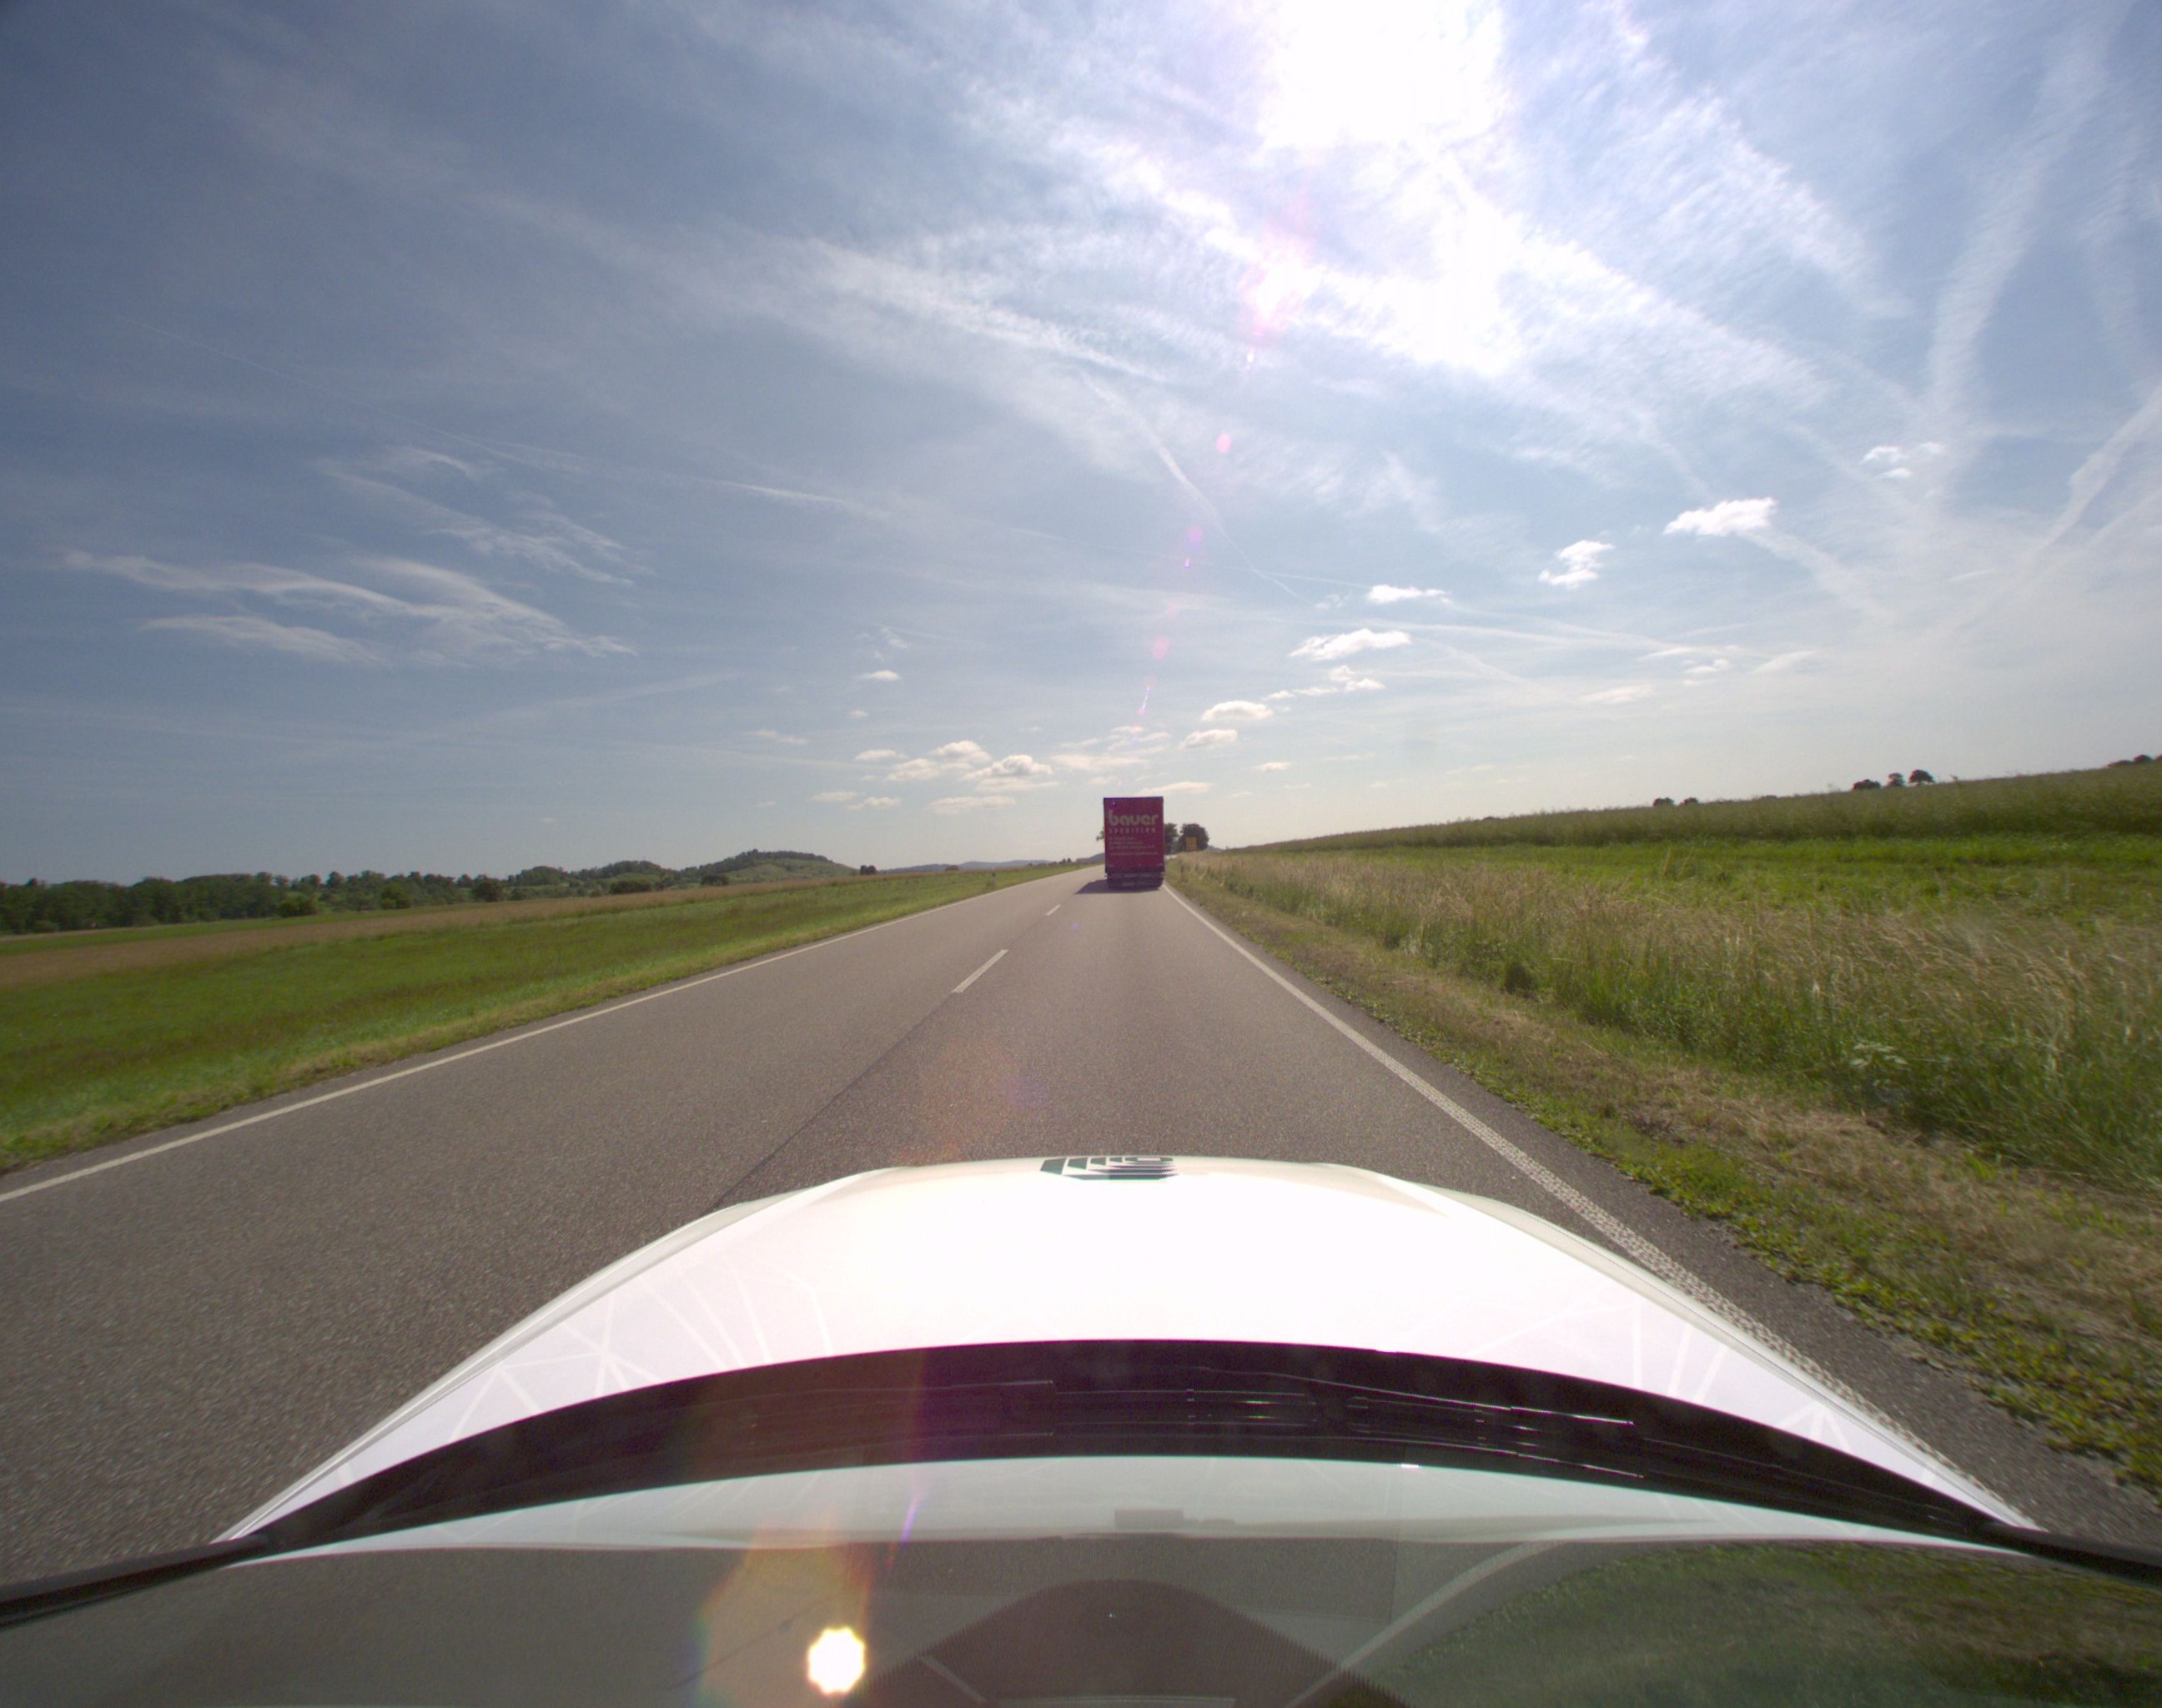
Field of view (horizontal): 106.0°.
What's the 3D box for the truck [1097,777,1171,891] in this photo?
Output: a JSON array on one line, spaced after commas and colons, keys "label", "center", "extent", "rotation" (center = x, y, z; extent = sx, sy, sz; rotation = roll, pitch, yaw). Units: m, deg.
[{"label": "truck", "center": [2.520, -0.873, 38.798], "extent": [2.962, 4.713, 9.375], "rotation": [-2, 0, 4]}]
